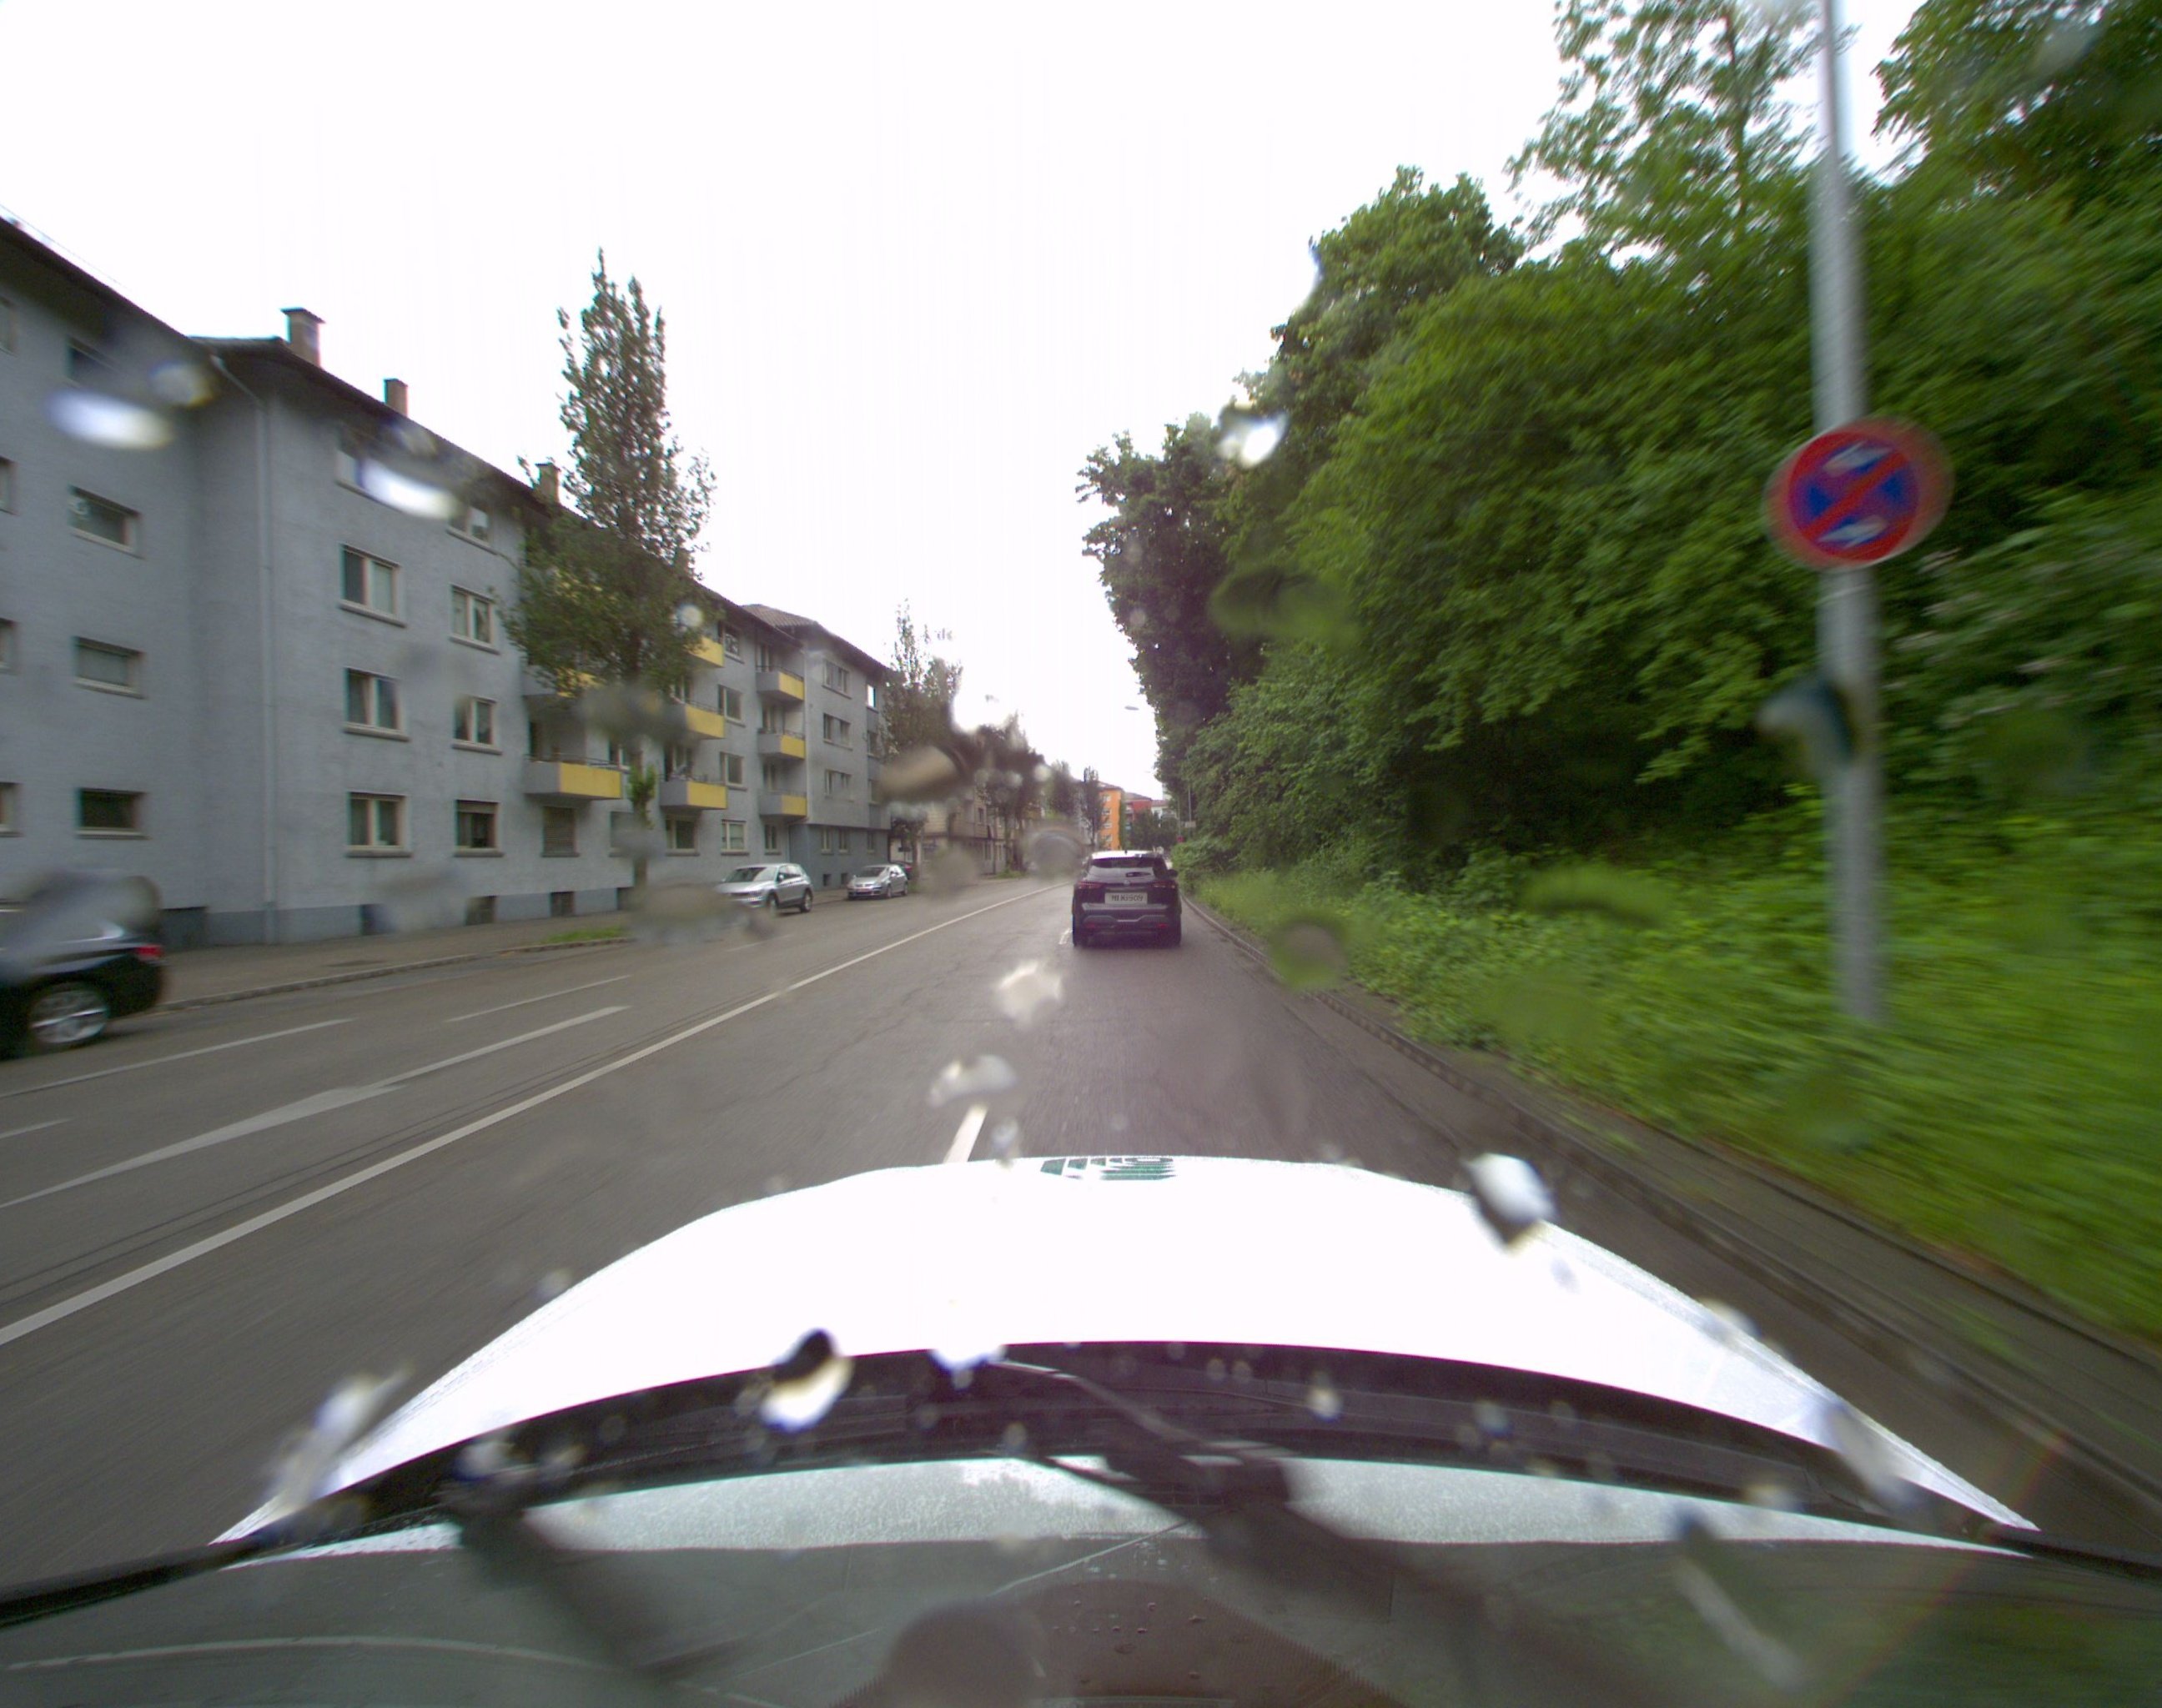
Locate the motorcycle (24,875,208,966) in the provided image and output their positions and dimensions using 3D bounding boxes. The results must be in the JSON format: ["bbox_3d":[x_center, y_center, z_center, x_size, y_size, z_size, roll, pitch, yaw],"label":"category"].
[{"bbox_3d":[-16.708,1.104,14.213,0.674,1.414,2.232,1,-1,-6],"label":"motorcycle"}]

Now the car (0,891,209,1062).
[{"bbox_3d":[-10.459,1.155,6.398,1.814,1.439,4.894,-3,-1,1],"label":"car"}]

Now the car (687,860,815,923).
[{"bbox_3d":[-9.677,1.040,24.341,1.757,1.604,4.536,-2,0,2],"label":"car"}]

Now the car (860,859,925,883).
[{"bbox_3d":[-13.699,1.228,59.267,4.127,1.579,1.930,-2,0,6],"label":"car"}]

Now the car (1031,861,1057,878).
[{"bbox_3d":[-3.687,1.554,81.938,1.808,1.489,4.798,-3,0,6],"label":"car"}]

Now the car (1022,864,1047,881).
[{"bbox_3d":[-4.284,1.697,75.460,1.617,1.387,3.997,-2,0,7],"label":"car"}]

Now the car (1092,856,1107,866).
[{"bbox_3d":[2.902,1.104,125.987,1.678,1.358,4.591,-5,-1,9],"label":"car"}]

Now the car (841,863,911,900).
[{"bbox_3d":[-8.847,1.153,35.529,1.717,1.453,4.208,-2,0,3],"label":"car"}]

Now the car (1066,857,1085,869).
[{"bbox_3d":[-0.685,1.112,102.301,1.808,1.372,4.689,-3,0,7],"label":"car"}]

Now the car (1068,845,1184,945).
[{"bbox_3d":[0.785,0.652,14.924,1.838,1.582,4.002,0,0,2],"label":"car"}]

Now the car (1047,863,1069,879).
[{"bbox_3d":[-2.503,1.873,90.652,1.709,1.489,4.524,-3,0,8],"label":"car"}]

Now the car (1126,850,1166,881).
[{"bbox_3d":[3.875,0.652,47.781,1.875,1.711,4.012,-1,0,11],"label":"car"}]
